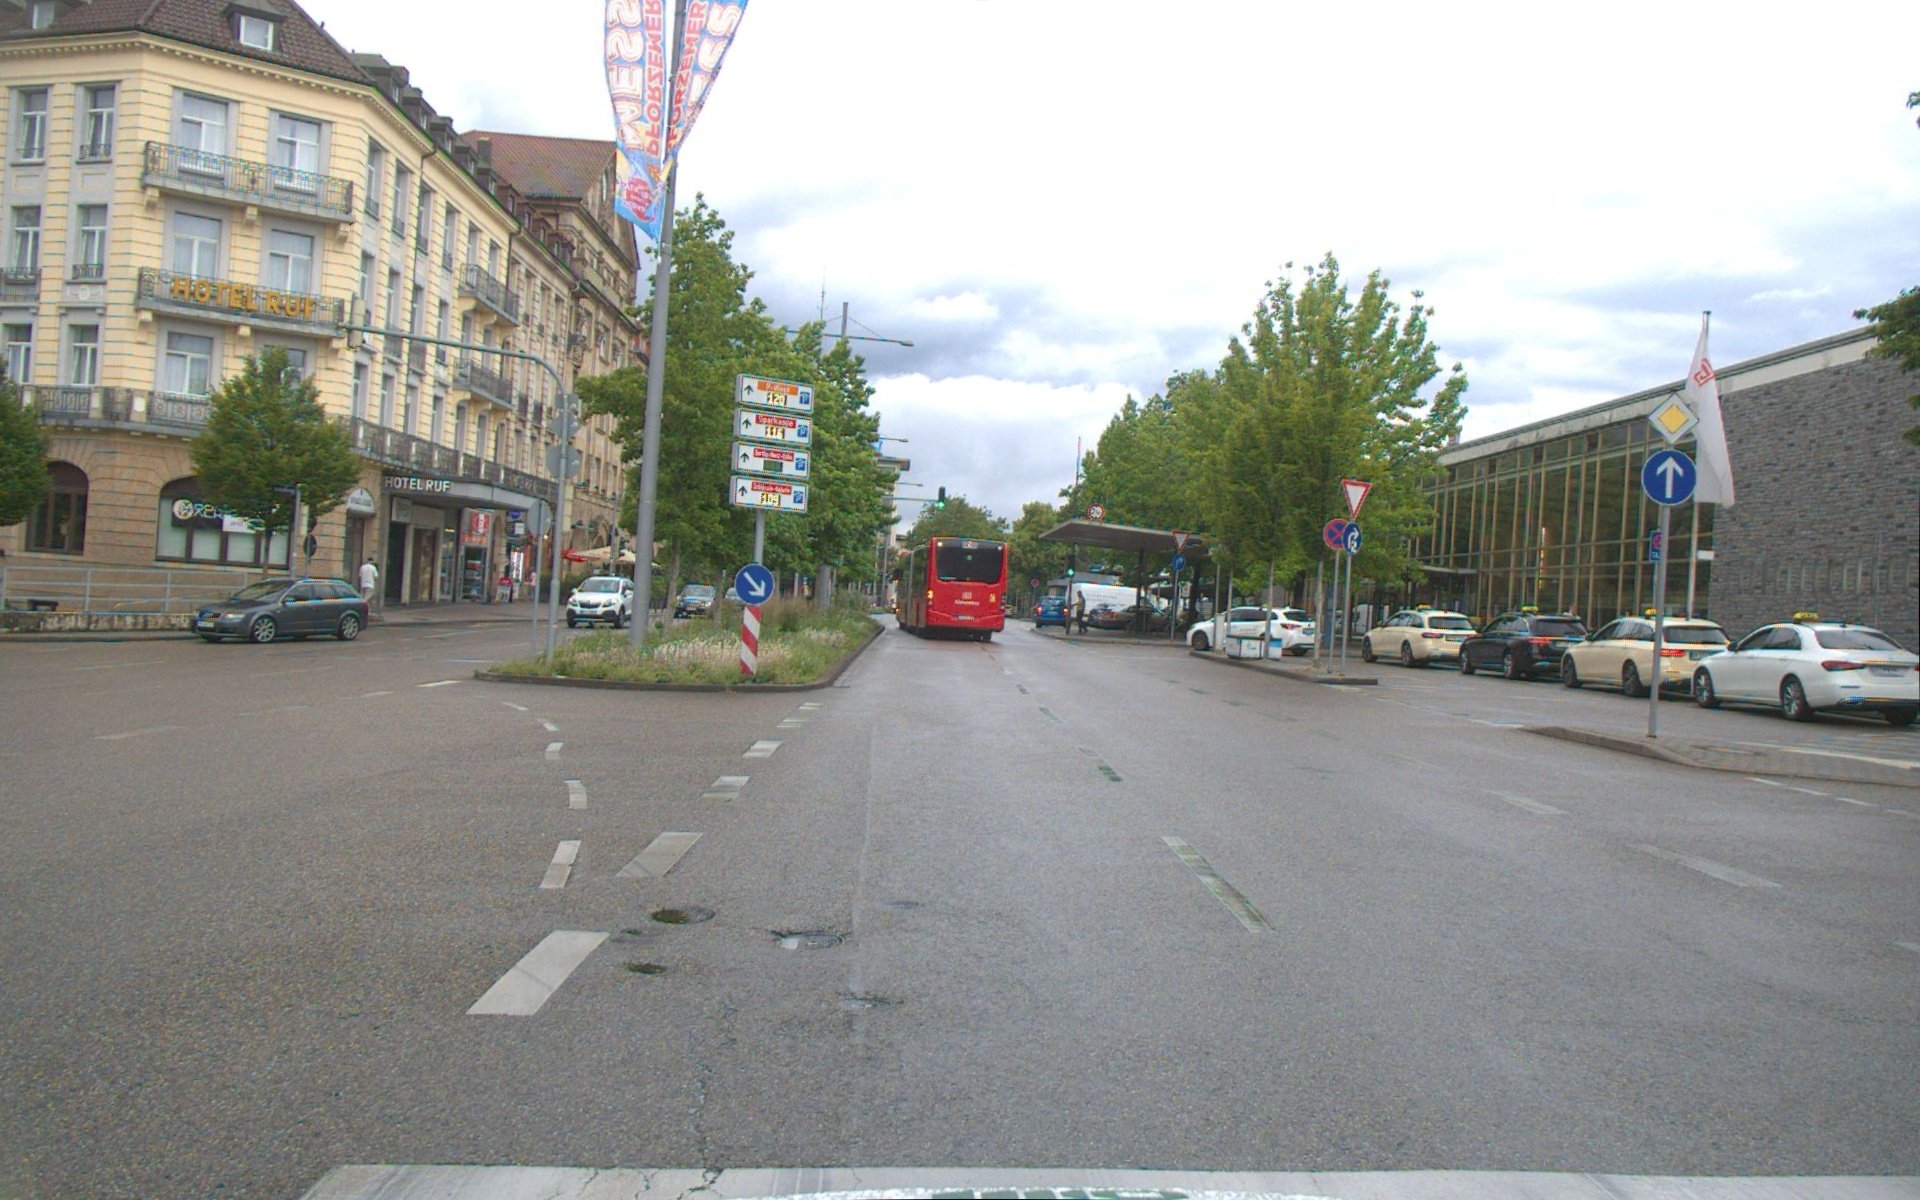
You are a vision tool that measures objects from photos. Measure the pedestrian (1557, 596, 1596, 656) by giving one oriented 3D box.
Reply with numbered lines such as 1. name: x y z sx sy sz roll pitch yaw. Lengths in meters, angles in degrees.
1. pedestrian: 16.675 0.691 44.756 0.753 1.607 0.710 1 -1 -5

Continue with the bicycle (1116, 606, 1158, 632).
1. bicycle: 7.712 0.827 72.082 1.800 1.074 0.418 1 -1 -19

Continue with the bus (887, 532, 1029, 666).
1. bus: -0.301 -0.011 56.116 3.477 4.049 11.154 1 0 -7

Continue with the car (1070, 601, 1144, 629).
1. car: 8.601 0.874 96.850 3.940 1.468 1.848 3 -1 -28

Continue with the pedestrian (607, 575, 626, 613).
1. pedestrian: -15.470 -0.253 74.536 0.667 1.693 0.807 1 -1 -1

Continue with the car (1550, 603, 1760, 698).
1. car: 13.340 0.915 32.114 1.953 1.627 4.958 1 0 -1

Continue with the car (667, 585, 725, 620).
1. car: -11.519 0.107 72.430 1.916 1.447 3.999 1 0 -1

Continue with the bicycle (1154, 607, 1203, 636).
1. bicycle: 8.334 0.822 63.145 1.790 1.074 0.420 1 -1 -1

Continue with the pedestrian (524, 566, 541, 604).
1. pedestrian: -19.199 -0.667 74.292 0.654 1.693 0.535 1 -1 -9

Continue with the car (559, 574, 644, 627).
1. car: -11.721 0.027 54.380 1.916 1.646 4.207 1 0 -1

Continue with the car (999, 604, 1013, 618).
1. car: 5.714 1.355 206.882 1.611 1.690 3.649 1 0 -1

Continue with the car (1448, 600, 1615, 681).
1. car: 13.124 0.874 38.342 1.953 1.627 4.956 3 0 -2

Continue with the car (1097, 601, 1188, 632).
1. car: 9.096 0.825 82.447 4.125 1.348 1.829 3 -1 -21

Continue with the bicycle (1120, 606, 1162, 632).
1. bicycle: 7.828 0.827 71.637 1.800 1.074 0.418 1 -1 -19

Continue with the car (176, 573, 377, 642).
1. car: -15.890 0.182 38.716 1.660 1.491 4.450 1 0 23

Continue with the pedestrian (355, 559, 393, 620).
1. pedestrian: -17.986 -0.324 50.769 0.861 1.844 0.750 1 -1 -1

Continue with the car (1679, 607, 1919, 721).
1. car: 13.424 0.938 26.252 1.841 1.627 4.902 1 0 -1

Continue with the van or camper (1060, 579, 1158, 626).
1. van or camper: 9.301 0.177 102.919 5.878 2.811 2.178 1 0 -28

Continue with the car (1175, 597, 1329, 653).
1. car: 9.020 0.760 51.418 1.747 1.573 4.708 2 -1 -40

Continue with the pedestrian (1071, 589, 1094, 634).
1. pedestrian: 4.951 0.476 66.941 0.732 1.777 0.834 2 -1 -9

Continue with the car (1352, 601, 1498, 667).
1. car: 12.526 0.885 44.878 1.956 1.627 4.949 1 0 -8

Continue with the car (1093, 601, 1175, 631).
1. car: 9.067 0.837 86.113 3.947 1.383 1.845 3 -1 -32

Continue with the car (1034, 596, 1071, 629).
1. car: 4.779 0.658 85.487 1.820 1.596 4.001 2 -1 3

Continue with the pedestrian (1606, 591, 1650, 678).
1. pedestrian: 17.115 0.885 42.384 0.780 2.202 0.721 1 -1 -9

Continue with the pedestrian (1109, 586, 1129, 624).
1. pedestrian: 7.826 0.248 81.467 0.839 1.867 1.189 2 -1 -1
